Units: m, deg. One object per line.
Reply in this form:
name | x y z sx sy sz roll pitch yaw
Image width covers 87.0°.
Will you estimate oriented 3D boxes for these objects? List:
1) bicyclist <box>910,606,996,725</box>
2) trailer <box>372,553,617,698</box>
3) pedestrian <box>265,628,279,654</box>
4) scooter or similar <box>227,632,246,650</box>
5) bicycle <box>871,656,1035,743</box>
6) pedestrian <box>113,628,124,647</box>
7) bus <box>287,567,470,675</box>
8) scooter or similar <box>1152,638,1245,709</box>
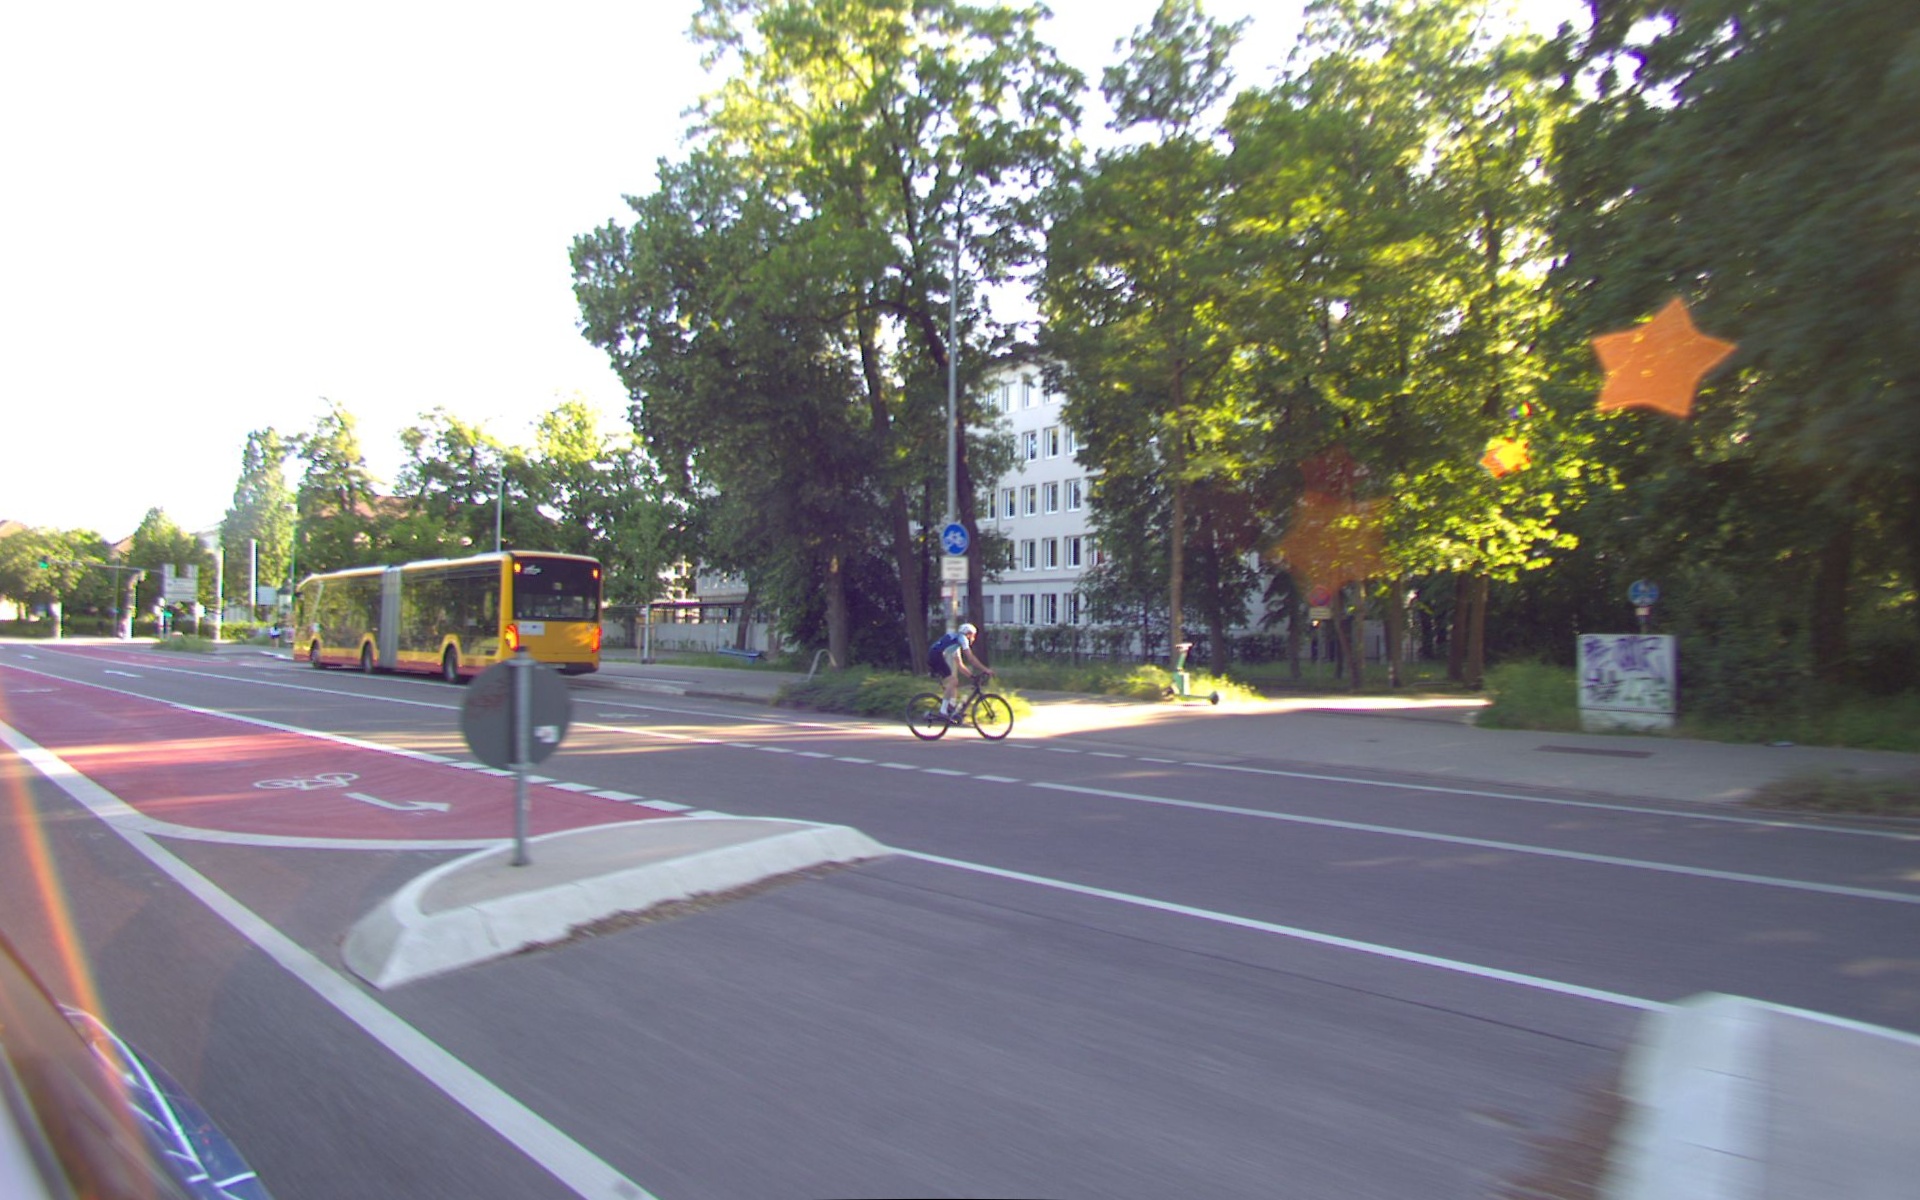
bicyclist | -0.108 0.904 14.268 0.866 1.579 0.865 -2 -2 -22
trailer | -13.056 0.634 27.801 9.363 3.381 2.823 -1 0 43
pedestrian | -40.982 2.426 60.262 0.570 1.545 0.447 -1 -5 37
scooter or similar | -53.024 2.994 74.142 0.683 1.304 1.501 1 -2 -19
bicycle | -0.107 1.360 14.221 2.099 1.104 0.897 0 -3 -21
pedestrian | -74.916 3.373 90.117 0.681 1.694 0.681 2 -3 -40
bus | -19.681 0.736 33.963 8.599 3.221 2.809 -1 -3 43
scooter or similar | 4.629 1.405 19.711 1.570 1.320 0.819 -1 -3 42
